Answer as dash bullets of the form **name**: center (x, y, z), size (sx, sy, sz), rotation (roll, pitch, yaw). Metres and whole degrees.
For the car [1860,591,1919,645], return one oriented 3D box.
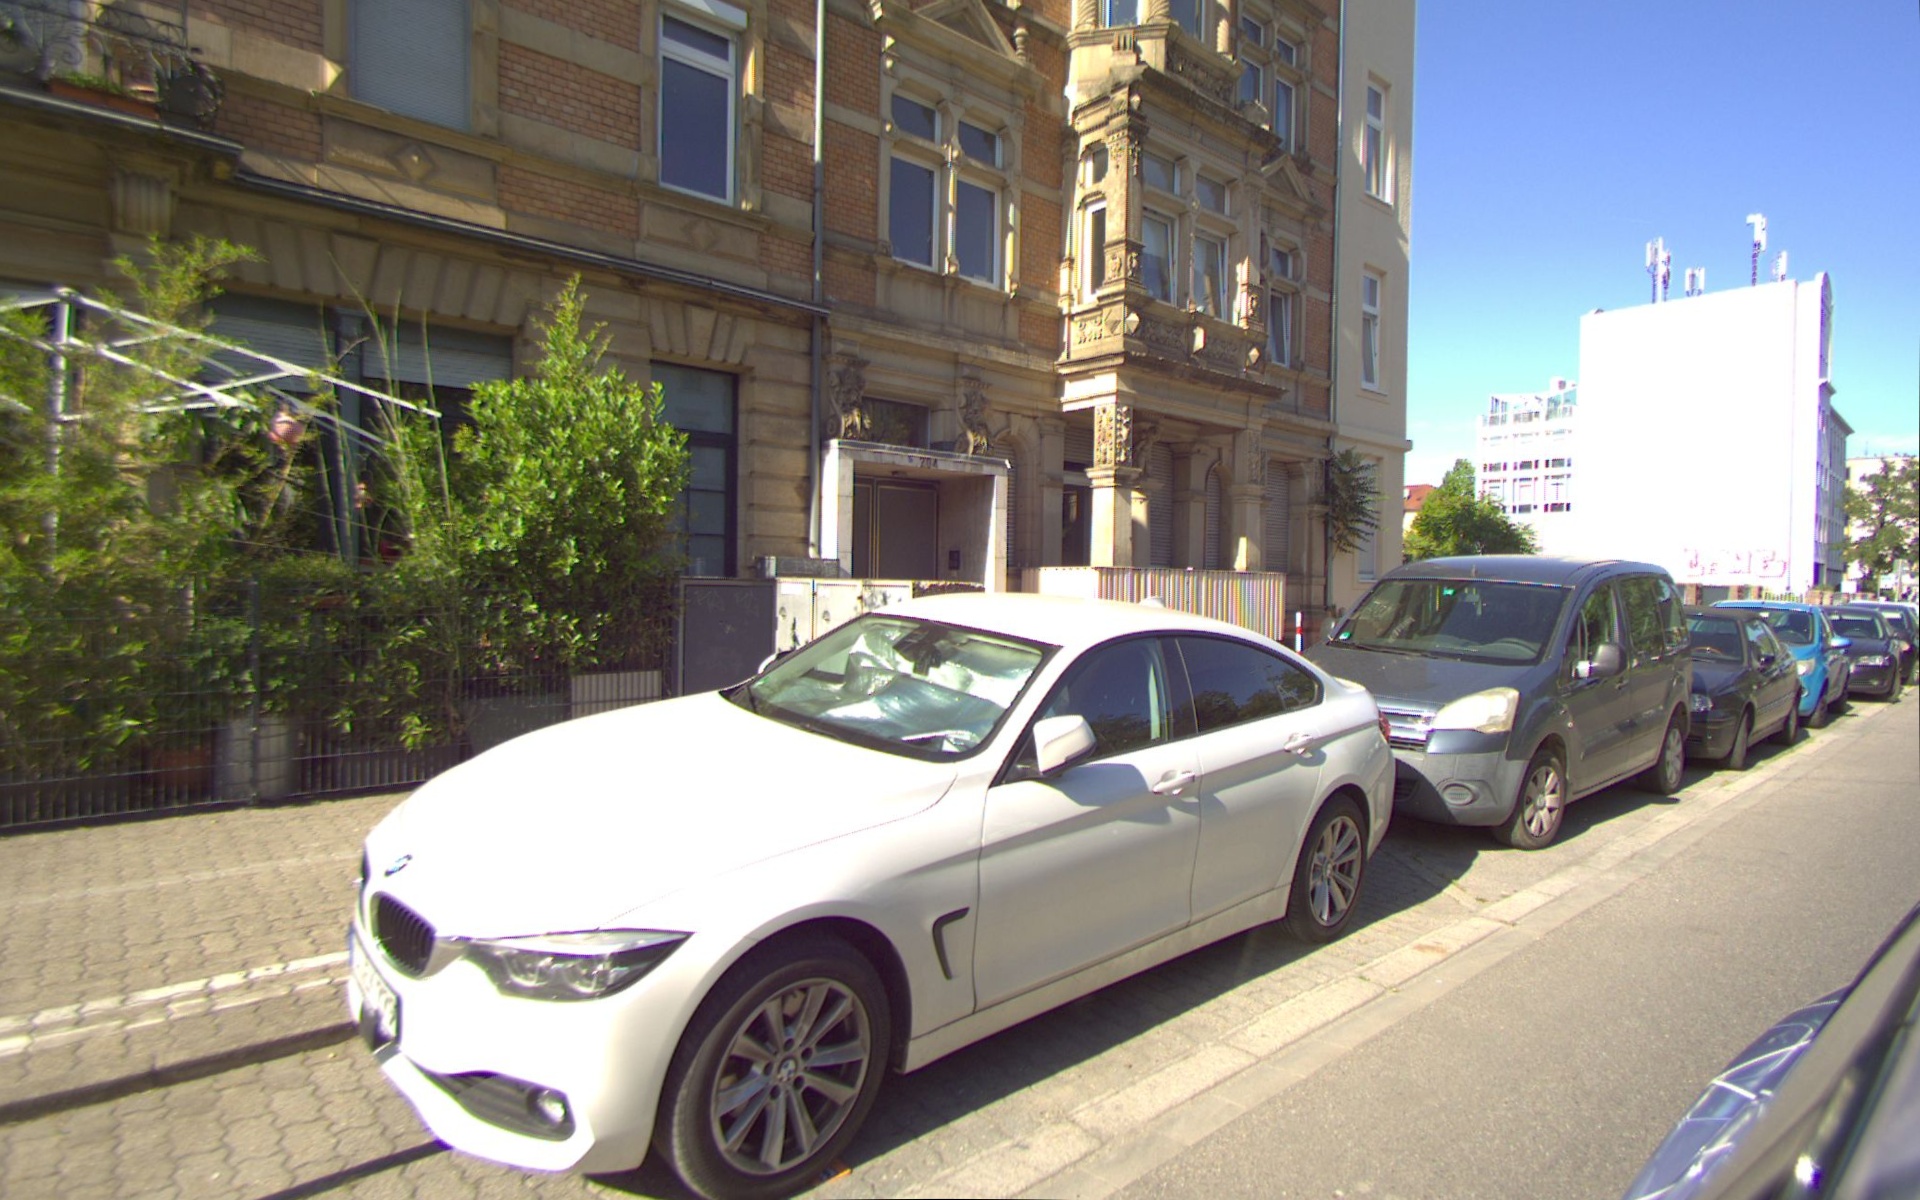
- **car**: center (28.682, 0.524, 30.809), size (1.669, 1.477, 3.922), rotation (6, 4, 44)

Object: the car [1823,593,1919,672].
- **car**: center (18.333, 0.589, 19.897), size (3.712, 1.411, 1.670), rotation (0, 1, -43)

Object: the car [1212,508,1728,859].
- **car**: center (3.922, 0.425, 7.450), size (4.286, 1.867, 1.823), rotation (0, 1, -40)

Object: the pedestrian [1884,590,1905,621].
- **pedestrian**: center (49.808, 0.291, 53.951), size (0.881, 1.603, 0.744), rotation (0, -1, -42)

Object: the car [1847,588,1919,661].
- **car**: center (21.753, 0.528, 23.403), size (1.669, 1.538, 3.602), rotation (2, 1, 44)

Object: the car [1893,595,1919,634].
- **car**: center (32.219, 0.510, 33.509), size (3.836, 1.197, 1.670), rotation (0, 4, -44)

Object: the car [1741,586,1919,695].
- **car**: center (14.597, 0.580, 16.784), size (4.409, 1.538, 1.937), rotation (0, 1, -43)

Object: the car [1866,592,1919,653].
- **car**: center (25.291, 0.598, 26.769), size (3.597, 1.463, 1.611), rotation (0, 4, -43)

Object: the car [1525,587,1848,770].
- **car**: center (7.475, 0.640, 10.256), size (4.198, 1.486, 1.671), rotation (0, 0, -40)

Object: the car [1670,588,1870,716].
- **car**: center (10.848, 0.614, 13.495), size (3.243, 1.489, 1.623), rotation (1, -1, -43)

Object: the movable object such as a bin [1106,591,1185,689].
- **movable object such as a bin**: center (2.371, 0.490, 12.935), size (0.598, 1.171, 0.760), rotation (-4, 2, -40)

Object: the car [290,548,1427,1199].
- **car**: center (0.011, 0.602, 3.902), size (4.133, 1.443, 1.713), rotation (0, 3, -42)

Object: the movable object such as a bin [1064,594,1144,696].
- **movable object such as a bin**: center (1.750, 0.525, 12.326), size (0.598, 1.171, 0.723), rotation (-4, 2, -40)
